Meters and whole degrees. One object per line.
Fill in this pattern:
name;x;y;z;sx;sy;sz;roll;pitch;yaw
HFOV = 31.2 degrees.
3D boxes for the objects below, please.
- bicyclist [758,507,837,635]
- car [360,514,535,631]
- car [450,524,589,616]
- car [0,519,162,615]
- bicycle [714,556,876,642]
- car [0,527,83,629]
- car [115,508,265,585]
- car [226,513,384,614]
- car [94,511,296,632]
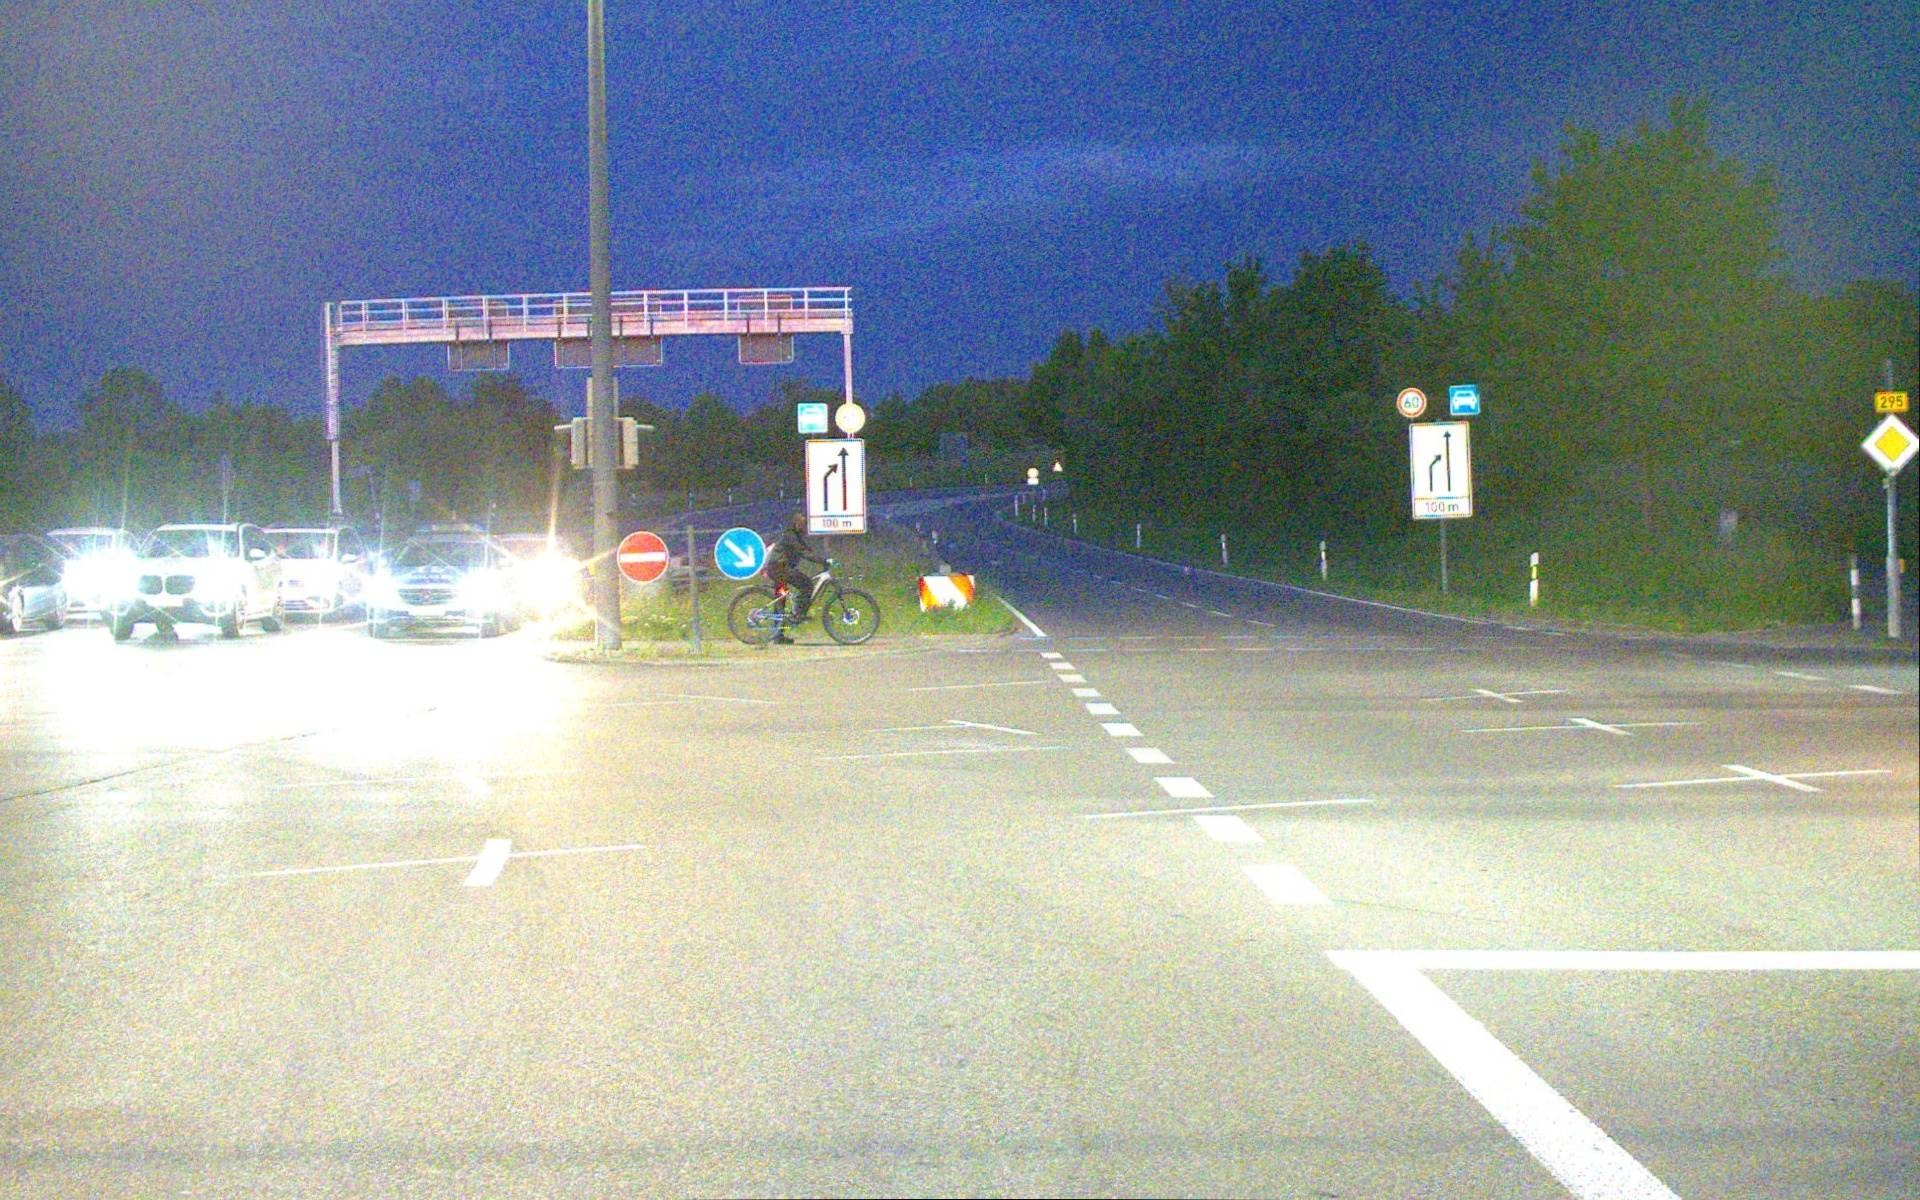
bicyclist;-2.104;-0.374;44.560;0.997;1.645;0.604;0;1;-5
car;-7.508;-0.440;50.760;1.852;1.627;4.585;0;2;1
car;-7.487;-0.540;58.737;1.773;1.476;3.910;1;1;1
car;-14.872;-0.580;58.025;1.831;1.519;4.000;-1;2;0
bicycle;-2.144;-0.022;44.549;2.061;1.097;0.695;0;1;-5
car;-14.678;-0.357;51.590;1.780;1.441;4.291;0;2;2
car;-14.601;-1.039;65.412;1.831;1.385;4.397;-1;2;0
car;-11.000;-0.647;57.989;1.745;1.621;4.363;0;2;1
car;-11.197;-0.462;50.599;1.908;1.676;4.420;0;2;1
